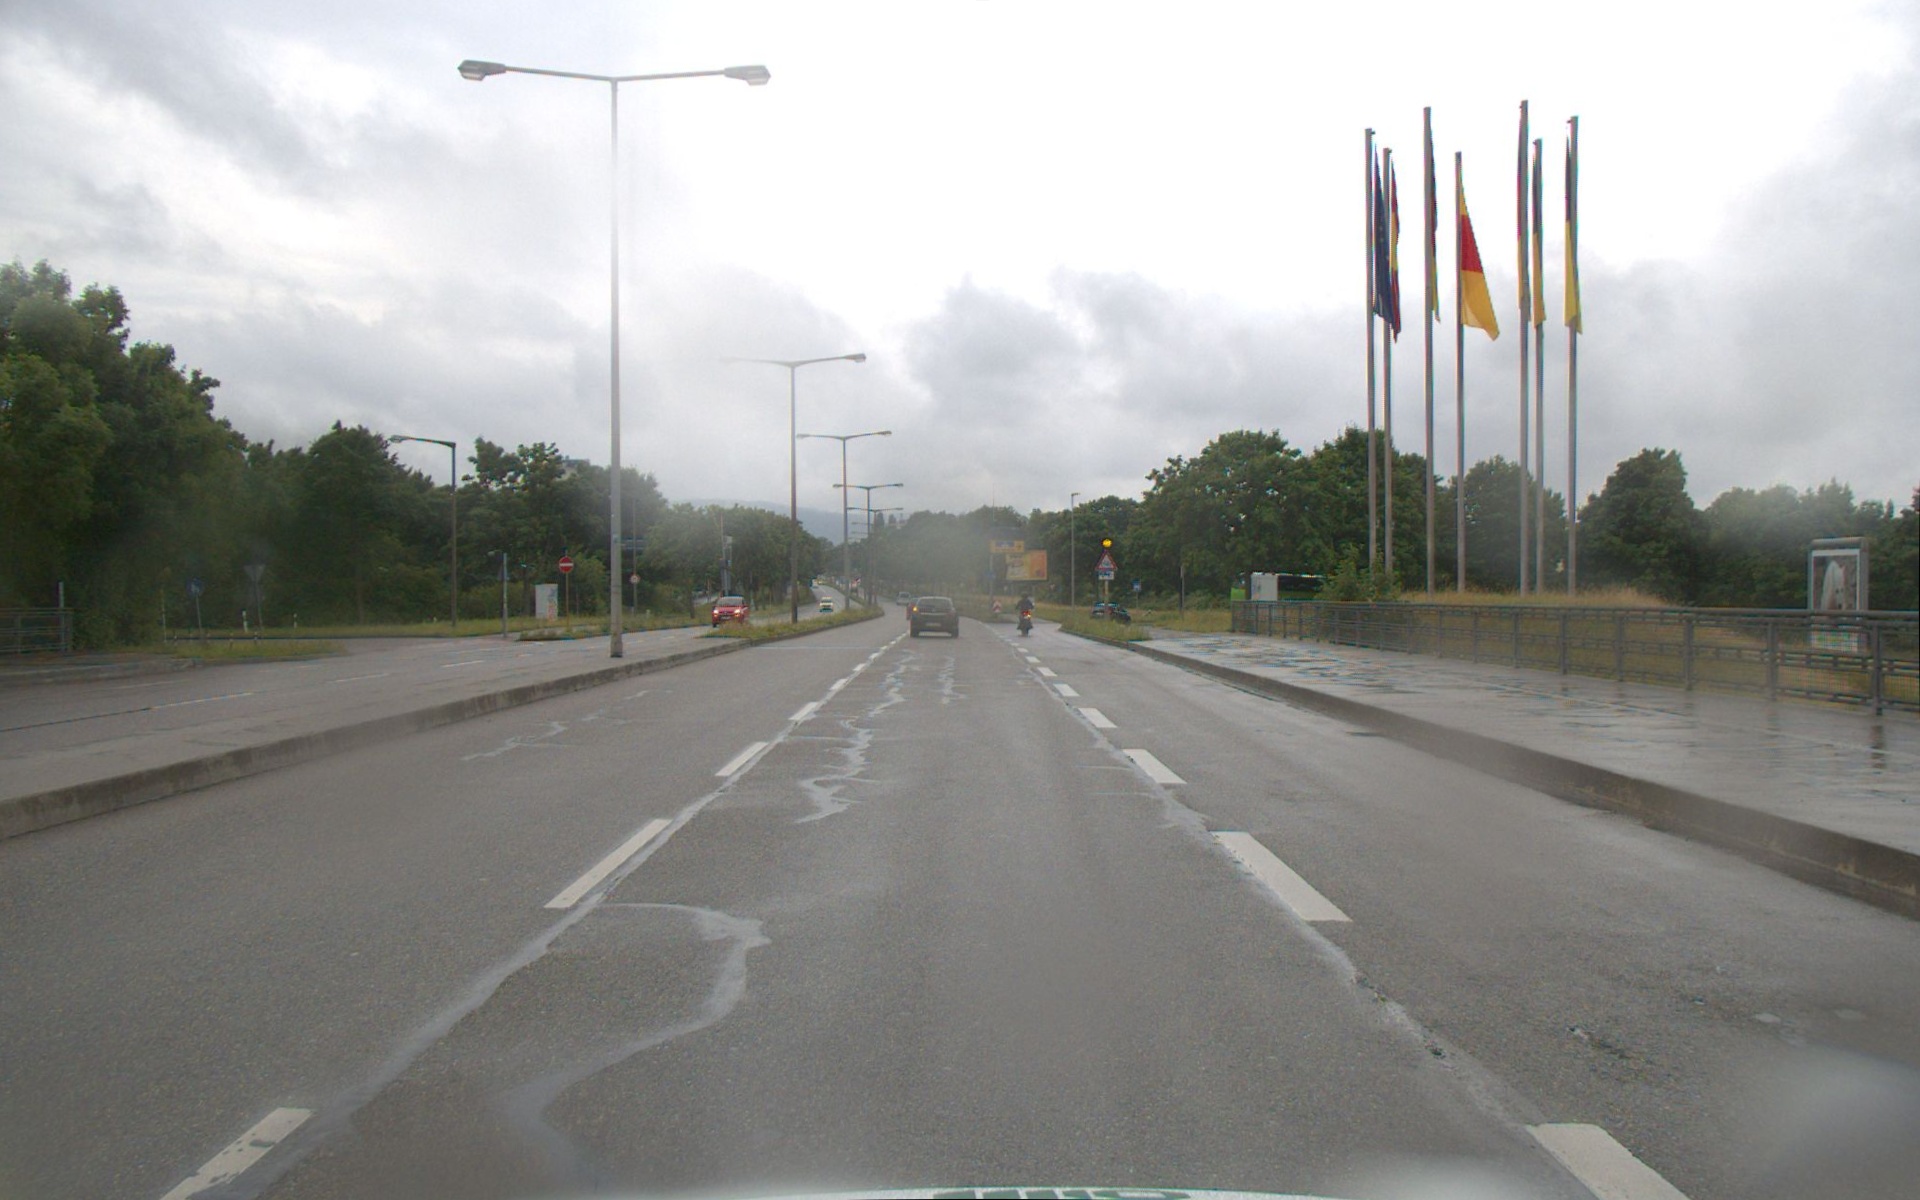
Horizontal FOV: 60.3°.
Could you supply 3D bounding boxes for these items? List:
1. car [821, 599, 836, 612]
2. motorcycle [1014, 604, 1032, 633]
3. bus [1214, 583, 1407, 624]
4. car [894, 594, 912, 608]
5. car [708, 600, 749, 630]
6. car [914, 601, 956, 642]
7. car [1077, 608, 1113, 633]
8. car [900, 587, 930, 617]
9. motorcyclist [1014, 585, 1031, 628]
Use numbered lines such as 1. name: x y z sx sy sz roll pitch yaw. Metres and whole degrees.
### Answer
1. car: -16.396 0.679 206.564 1.673 1.658 4.490 -2 0 -2
2. motorcycle: 2.536 0.737 66.782 0.589 1.112 1.731 1 0 -2
3. bus: 25.662 0.277 120.871 14.314 2.726 2.750 1 0 -18
4. car: -8.798 0.192 255.894 2.467 2.088 5.287 0 0 -5
5. car: -12.083 0.752 86.406 1.627 1.473 3.556 -2 0 -1
6. car: -0.905 0.752 59.163 1.433 1.352 3.756 1 0 -2
7. car: 9.035 1.347 110.301 1.815 1.646 4.003 1 0 13
8. car: -3.014 0.136 111.167 1.953 1.912 3.998 1 0 -2
9. motorcyclist: 2.530 0.262 66.761 0.589 1.719 0.860 1 0 -2
